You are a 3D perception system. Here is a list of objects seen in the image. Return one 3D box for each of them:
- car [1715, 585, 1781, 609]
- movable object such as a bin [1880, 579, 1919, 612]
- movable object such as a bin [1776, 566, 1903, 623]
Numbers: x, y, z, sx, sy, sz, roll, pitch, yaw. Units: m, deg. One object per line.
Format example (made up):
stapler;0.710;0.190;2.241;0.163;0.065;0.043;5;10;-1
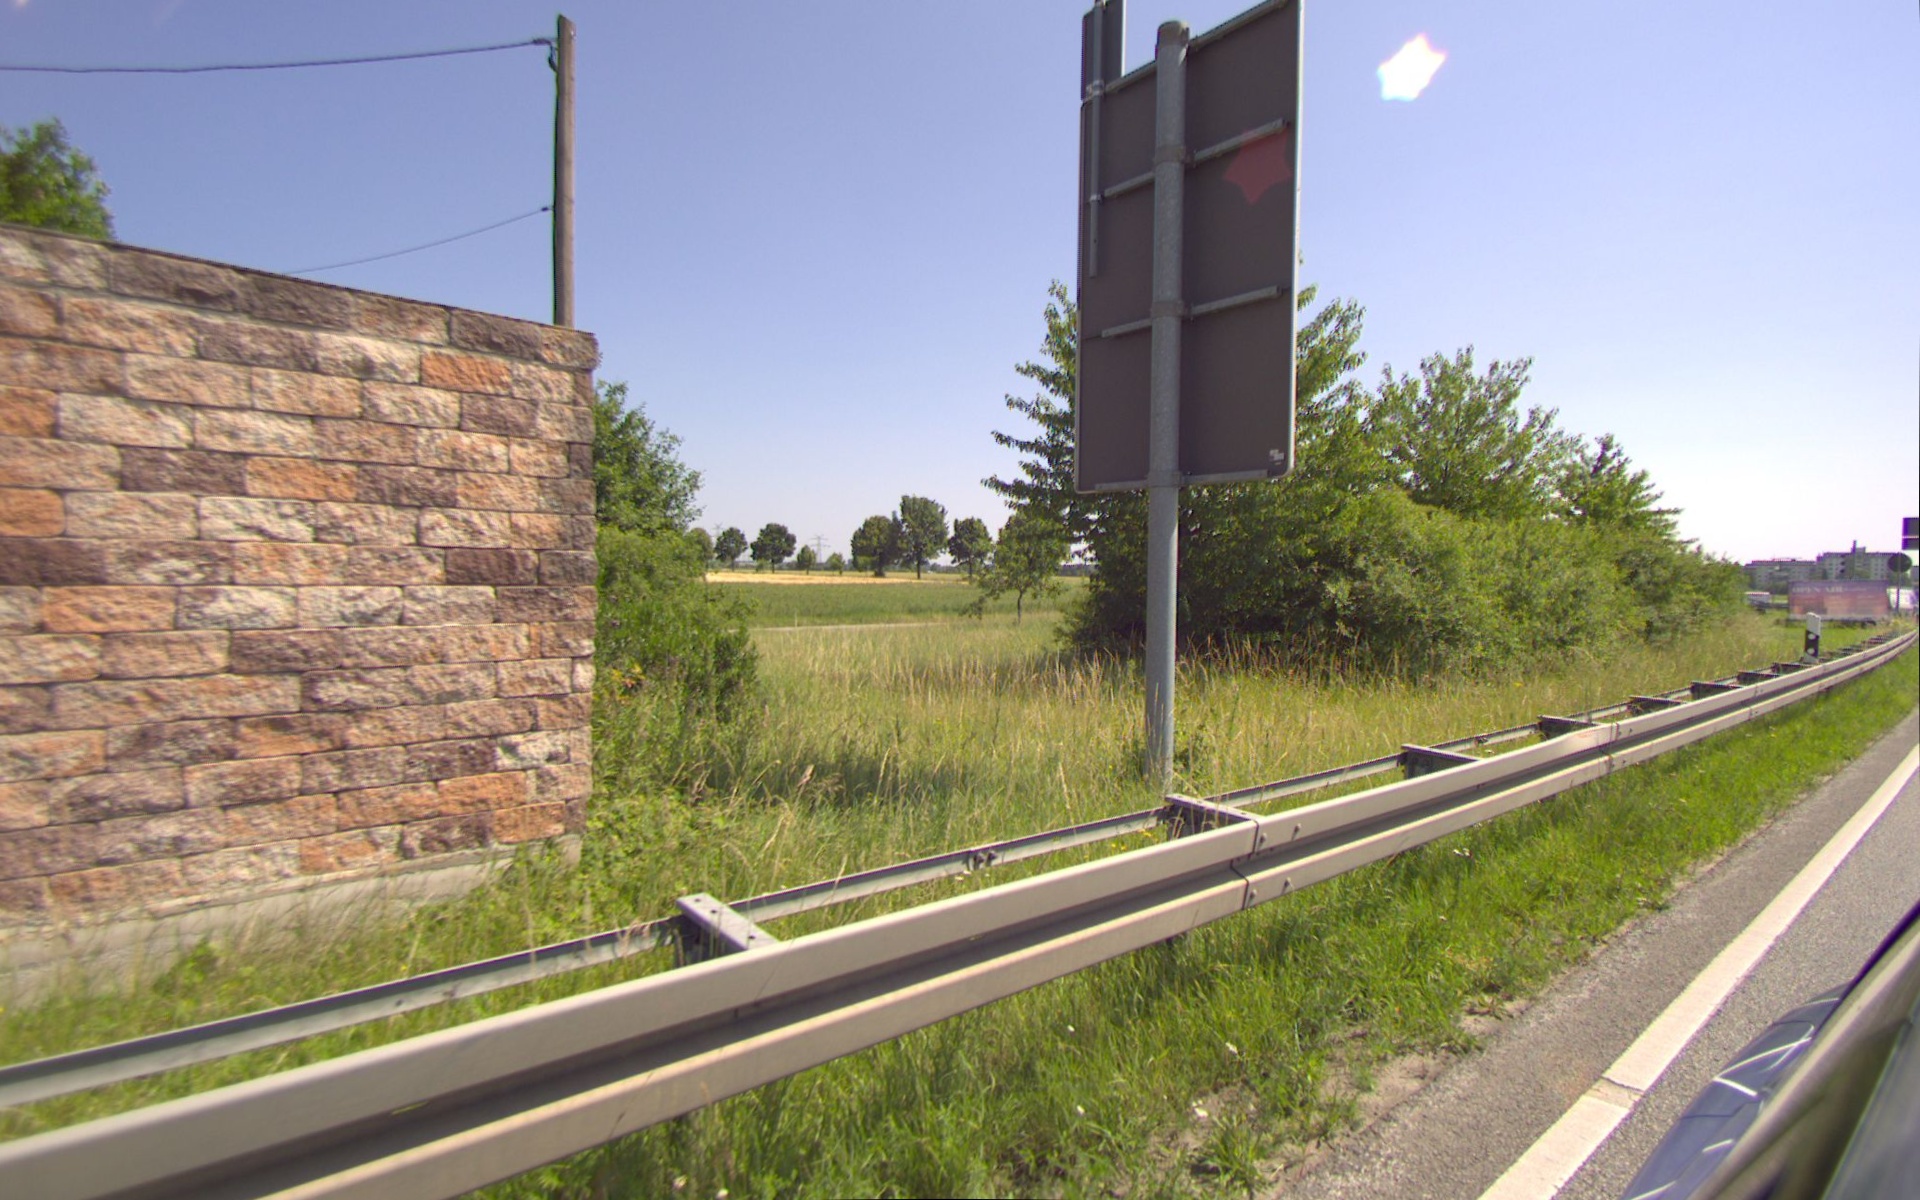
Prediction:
car;51.582;-0.227;66.296;3.334;1.518;1.379;1;1;42
movable object such as a bin;69.741;-0.365;74.393;4.332;2.392;1.529;-1;0;-24
movable object such as a bin;38.252;-0.242;44.085;4.094;2.360;1.257;0;0;44
